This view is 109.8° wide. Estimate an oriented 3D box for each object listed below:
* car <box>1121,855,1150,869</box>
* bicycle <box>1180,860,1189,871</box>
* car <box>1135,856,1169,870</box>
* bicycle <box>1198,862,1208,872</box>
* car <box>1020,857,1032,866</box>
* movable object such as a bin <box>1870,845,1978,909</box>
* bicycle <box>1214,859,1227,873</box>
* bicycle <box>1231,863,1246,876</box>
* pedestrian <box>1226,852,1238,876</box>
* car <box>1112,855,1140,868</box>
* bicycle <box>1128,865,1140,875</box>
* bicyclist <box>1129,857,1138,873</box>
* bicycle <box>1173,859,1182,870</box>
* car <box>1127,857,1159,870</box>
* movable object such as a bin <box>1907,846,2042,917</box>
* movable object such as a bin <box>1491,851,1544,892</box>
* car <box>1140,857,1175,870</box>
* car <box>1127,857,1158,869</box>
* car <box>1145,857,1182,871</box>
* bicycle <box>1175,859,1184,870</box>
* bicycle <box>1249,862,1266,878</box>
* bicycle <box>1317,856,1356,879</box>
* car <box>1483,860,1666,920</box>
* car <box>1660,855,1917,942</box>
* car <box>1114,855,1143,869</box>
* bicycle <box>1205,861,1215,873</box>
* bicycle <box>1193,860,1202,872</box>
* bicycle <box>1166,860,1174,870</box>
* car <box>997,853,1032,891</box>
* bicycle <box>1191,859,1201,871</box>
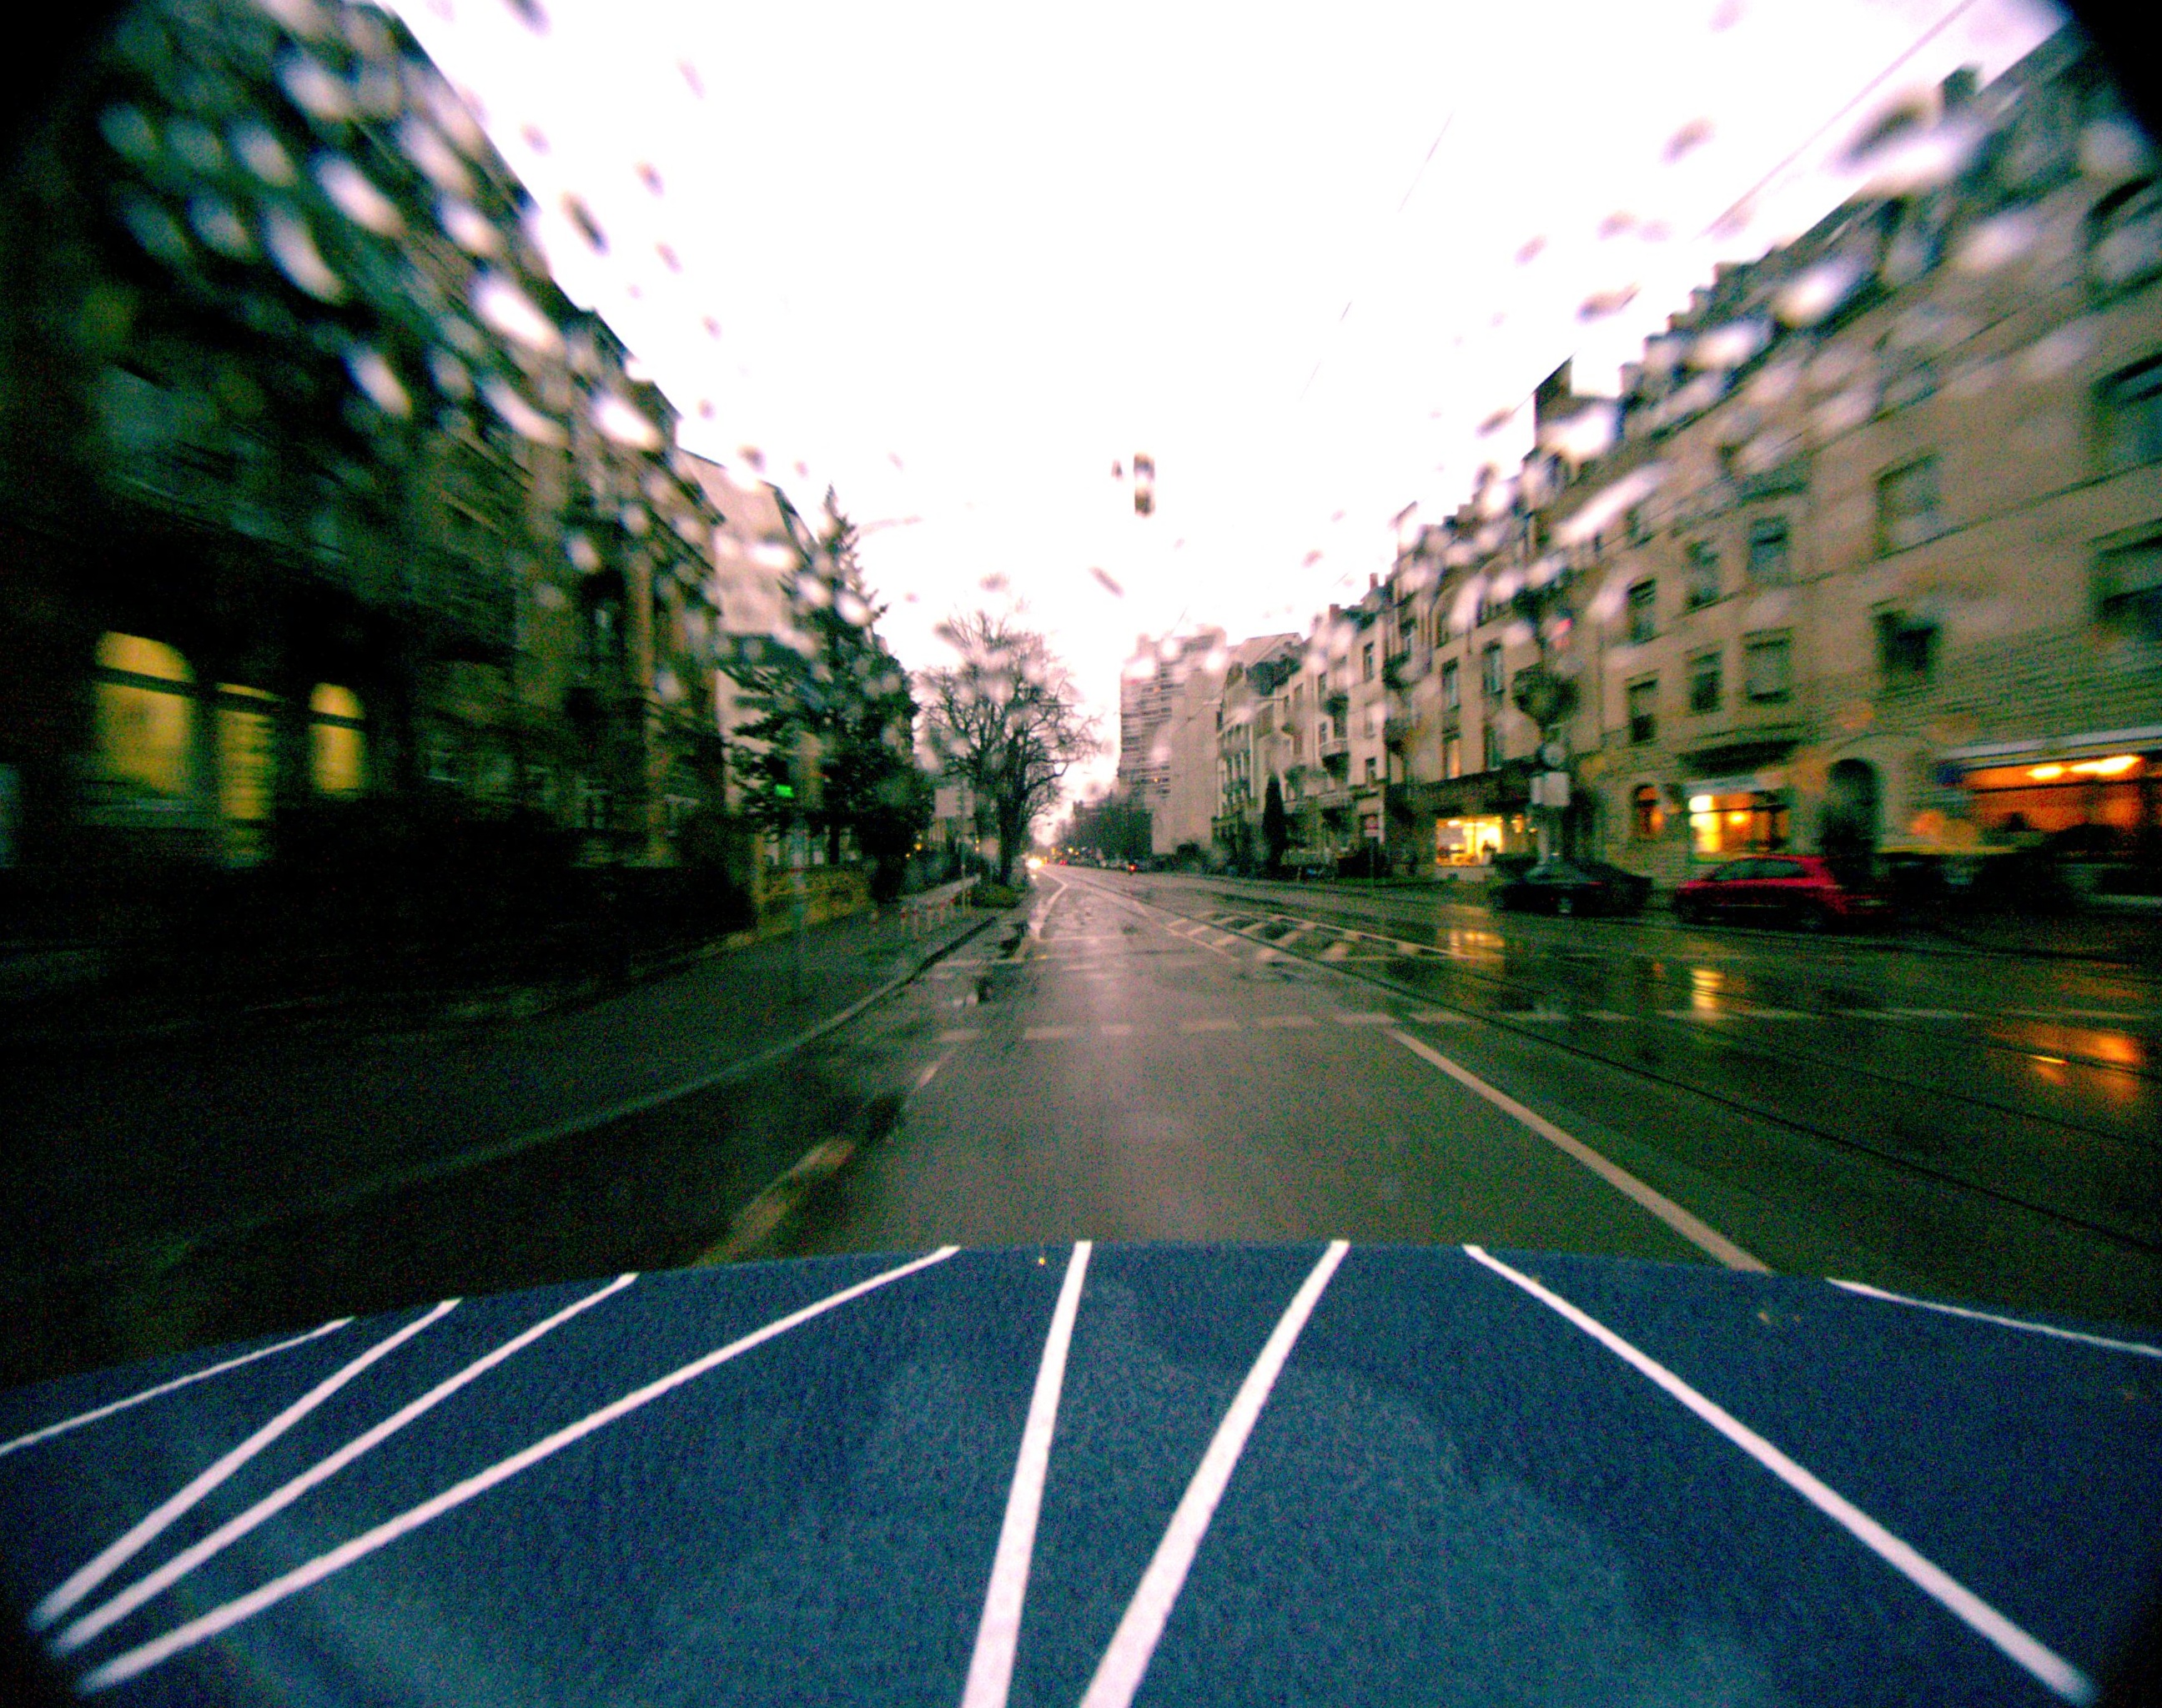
[{"bbox_3d":[7.721,1.122,107.993,3.841,1.707,1.727,-4,0,-3],"label":"car"},{"bbox_3d":[9.838,1.071,72.324,0.435,1.001,1.880,-4,0,-3],"label":"bicycle"},{"bbox_3d":[8.539,1.075,91.300,3.841,1.405,1.727,-4,0,-3],"label":"car"},{"bbox_3d":[10.393,1.084,64.857,0.442,0.827,1.767,-4,0,-3],"label":"bicycle"},{"bbox_3d":[-8.906,1.256,122.371,1.727,1.405,3.840,-1,0,-7],"label":"car"},{"bbox_3d":[19.415,0.507,17.531,1.004,1.364,1.274,-4,1,-5],"label":"movable object such as a bin"},{"bbox_3d":[10.925,0.951,59.686,0.485,1.001,2.208,-4,0,-3],"label":"bicycle"},{"bbox_3d":[11.253,1.096,54.311,0.531,0.884,2.209,-4,0,0],"label":"bicycle"},{"bbox_3d":[10.587,0.689,53.293,0.574,1.632,0.449,-4,1,-5],"label":"pedestrian"},{"bbox_3d":[6.795,1.112,114.720,3.841,1.707,1.726,-4,0,-3],"label":"car"},{"bbox_3d":[4.909,1.460,70.855,0.649,0.884,1.712,0,0,-12],"label":"bicycle"},{"bbox_3d":[4.908,1.064,70.879,0.658,1.491,0.657,0,0,-12],"label":"bicyclist"},{"bbox_3d":[9.686,1.029,76.323,0.435,1.001,1.880,-4,0,-3],"label":"bicycle"},{"bbox_3d":[7.870,1.181,97.088,3.841,1.405,1.727,-3,0,-3],"label":"car"},{"bbox_3d":[18.916,0.556,16.128,1.353,1.364,1.280,-4,1,-5],"label":"movable object such as a bin"},{"bbox_3d":[16.113,0.638,28.088,1.240,1.423,1.073,-4,1,-5],"label":"movable object such as a bin"},{"bbox_3d":[8.928,1.115,88.513,3.841,1.405,1.727,-1,0,-3],"label":"car"},{"bbox_3d":[8.157,1.181,101.606,3.841,1.405,1.727,-4,0,-3],"label":"car"},{"bbox_3d":[9.300,1.112,85.860,3.841,1.405,1.727,-1,0,-3],"label":"car"},{"bbox_3d":[9.643,1.057,74.323,0.435,1.001,1.880,-4,0,-3],"label":"bicycle"},{"bbox_3d":[11.484,1.021,49.512,0.531,0.934,2.086,-4,0,0],"label":"bicycle"},{"bbox_3d":[14.694,0.768,43.712,1.990,1.152,0.531,-4,1,-5],"label":"bicycle"},{"bbox_3d":[13.702,0.935,21.494,1.807,1.382,4.506,-4,0,-7],"label":"car"},{"bbox_3d":[14.752,0.842,16.138,1.677,1.507,3.676,-4,0,-10],"label":"car"},{"bbox_3d":[6.893,1.134,110.764,3.841,1.707,1.726,-4,0,-3],"label":"car"},{"bbox_3d":[10.686,1.069,63.059,0.435,1.001,1.712,-4,0,-3],"label":"bicycle"},{"bbox_3d":[10.254,1.051,66.762,0.435,1.001,1.604,-4,0,-3],"label":"bicycle"},{"bbox_3d":[9.303,1.136,79.254,0.469,1.001,1.880,-4,0,-3],"label":"bicycle"},{"bbox_3d":[-3.809,0.973,43.479,1.727,1.934,4.506,-4,0,-5],"label":"car"},{"bbox_3d":[10.362,0.973,68.565,0.435,1.001,1.880,-4,0,-3],"label":"bicycle"}]
